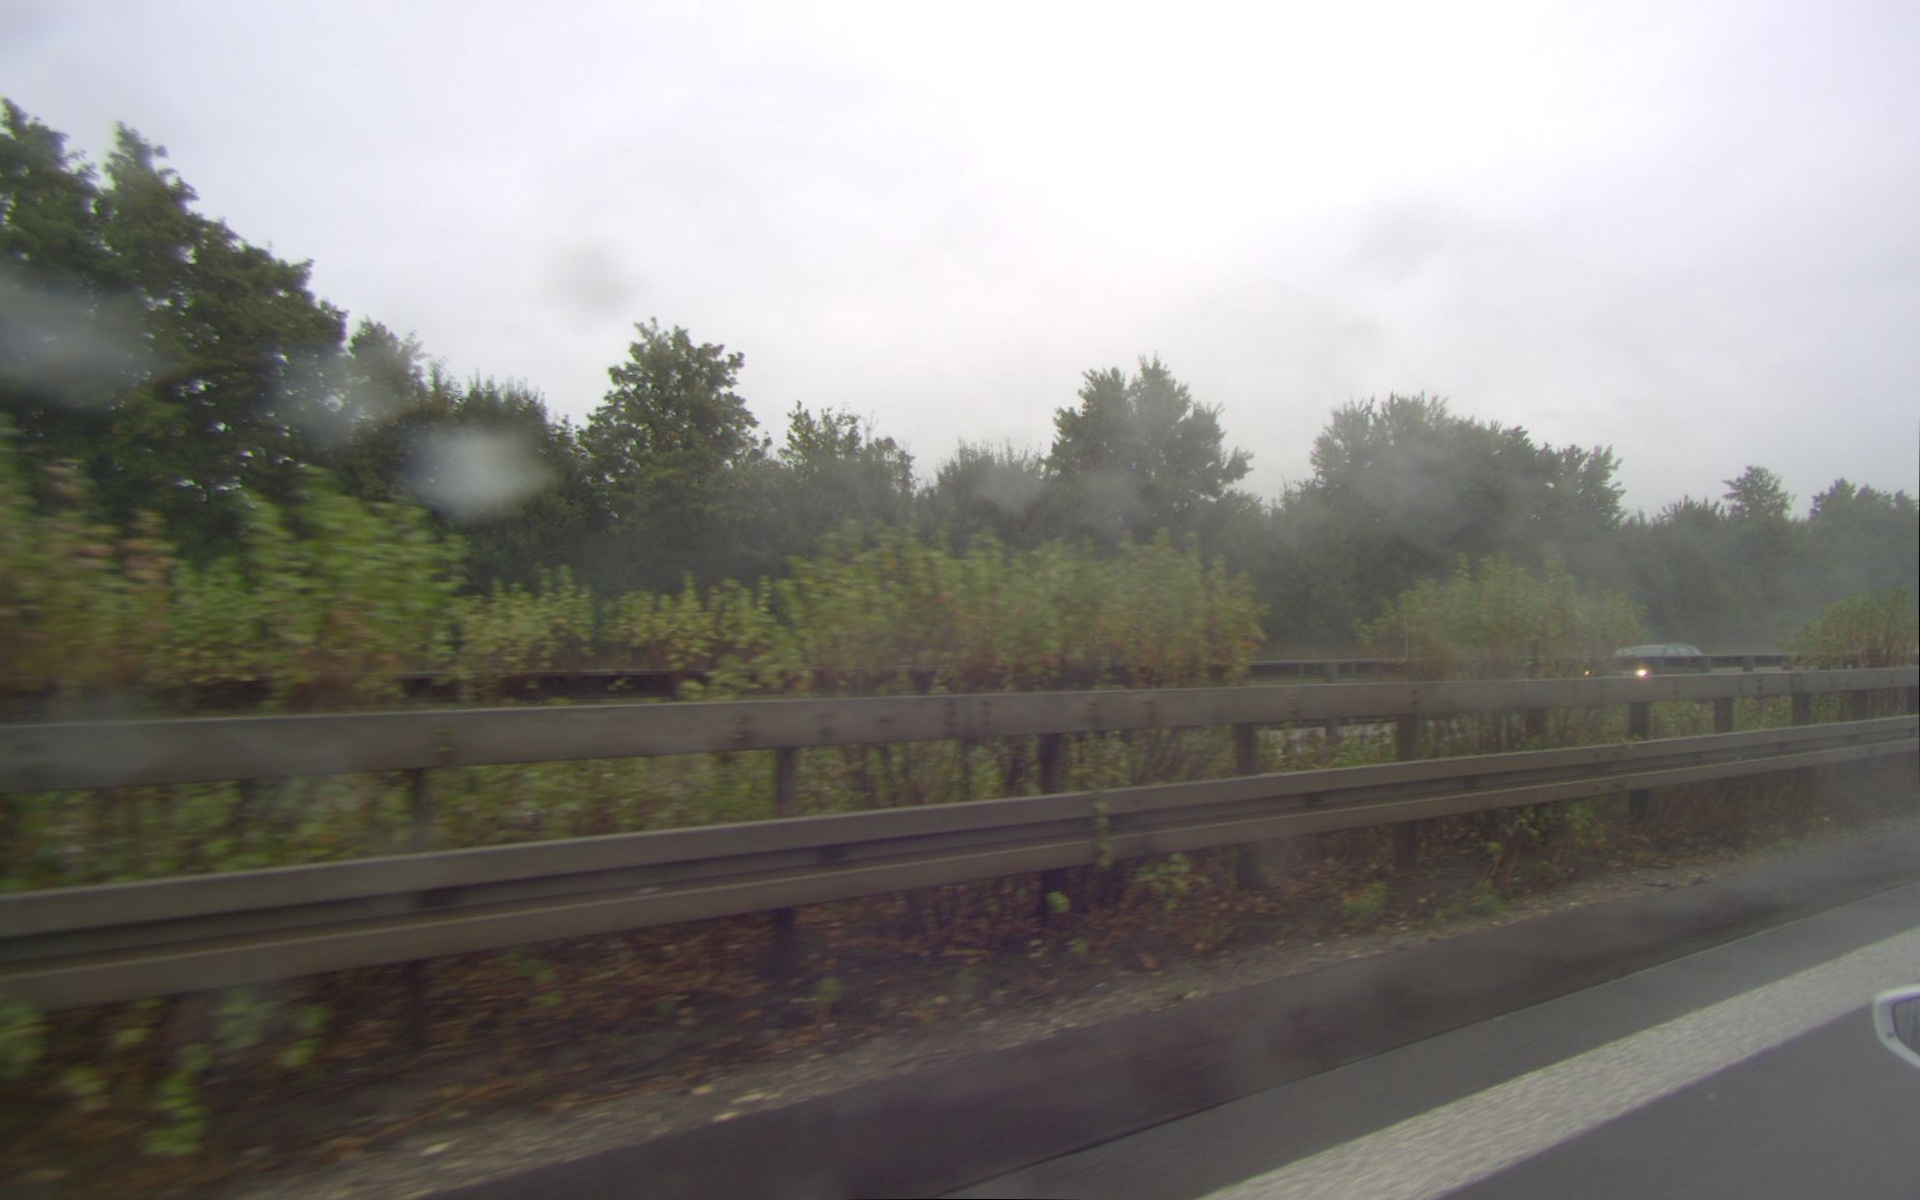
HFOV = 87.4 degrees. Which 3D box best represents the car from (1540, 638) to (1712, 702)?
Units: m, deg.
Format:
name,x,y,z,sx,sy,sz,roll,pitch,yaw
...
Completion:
name,x,y,z,sx,sy,sz,roll,pitch,yaw
car,18.715,1.904,28.198,4.847,1.532,2.148,1,0,-31
